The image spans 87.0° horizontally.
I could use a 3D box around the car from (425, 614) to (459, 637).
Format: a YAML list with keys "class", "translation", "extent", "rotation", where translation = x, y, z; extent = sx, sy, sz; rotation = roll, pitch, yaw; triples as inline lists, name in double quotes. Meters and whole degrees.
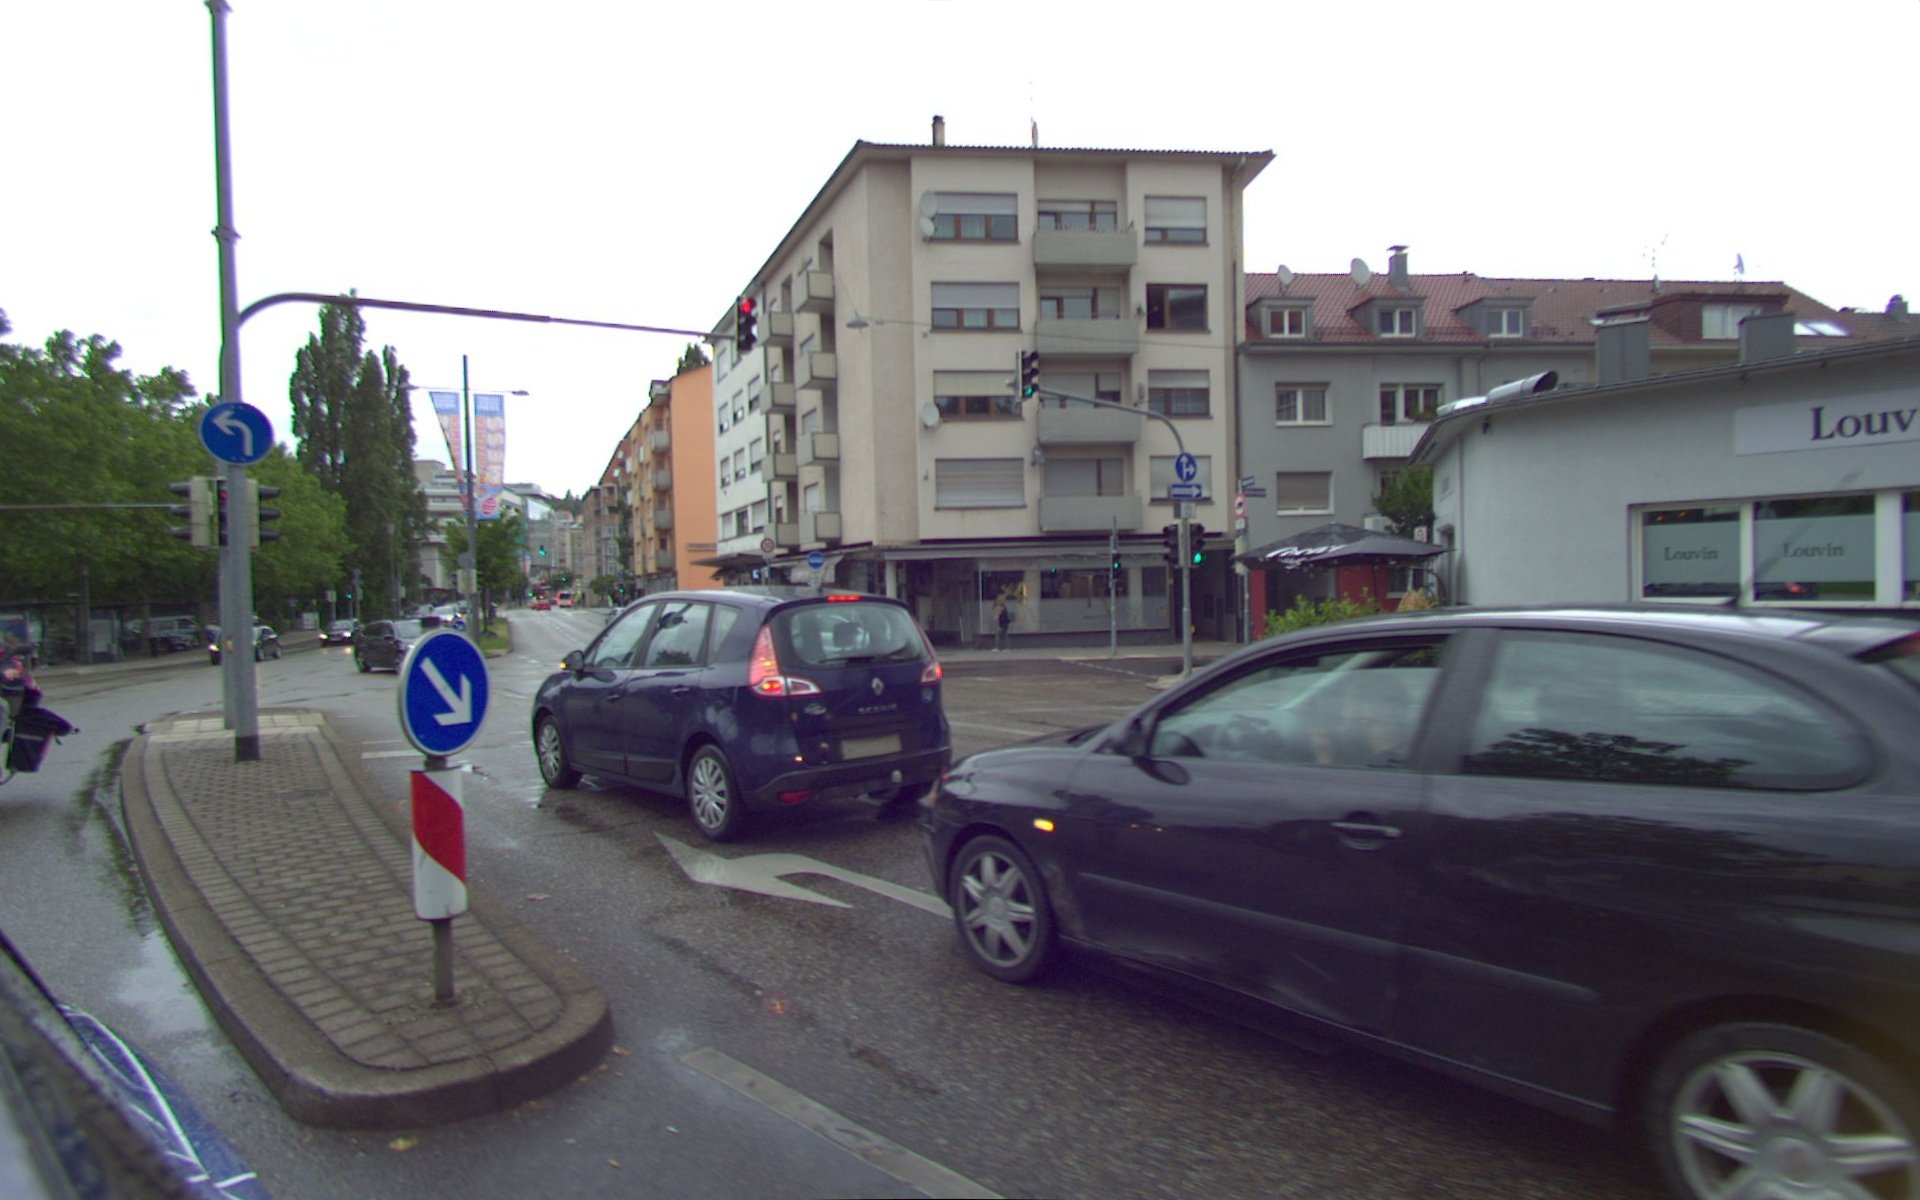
- class: "car"
  translation: [-37.403, 1.853, 73.163]
  extent: [1.865, 1.588, 4.375]
  rotation: [0, -1, -23]

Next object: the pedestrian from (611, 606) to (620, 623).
- class: "pedestrian"
  translation: [-34.822, 1.431, 102.347]
  extent: [0.754, 1.708, 0.803]
  rotation: [-1, 0, -26]

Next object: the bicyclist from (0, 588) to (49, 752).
- class: "bicyclist"
  translation: [-7.657, 0.565, 7.748]
  extent: [0.948, 1.235, 0.716]
  rotation: [-2, -3, -40]

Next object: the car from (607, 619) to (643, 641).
- class: "car"
  translation: [-21.645, 1.922, 65.328]
  extent: [1.652, 1.402, 4.165]
  rotation: [1, -1, -26]

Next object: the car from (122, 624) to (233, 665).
- class: "car"
  translation: [-46.842, 2.641, 60.702]
  extent: [4.769, 1.957, 1.957]
  rotation: [-5, 2, -19]

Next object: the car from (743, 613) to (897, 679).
- class: "car"
  translation: [-3.481, 1.139, 25.539]
  extent: [3.582, 1.472, 1.540]
  rotation: [-2, 0, 3]

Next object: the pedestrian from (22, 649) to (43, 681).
- class: "pedestrian"
  translation: [-37.869, 2.654, 41.333]
  extent: [0.491, 1.281, 0.403]
  rotation: [-2, -1, -20]

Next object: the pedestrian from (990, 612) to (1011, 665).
- class: "pedestrian"
  translation: [1.300, 1.243, 32.669]
  extent: [0.594, 1.662, 0.528]
  rotation: [-2, 3, 0]

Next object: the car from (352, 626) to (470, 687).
- class: "car"
  translation: [-15.352, 1.499, 28.198]
  extent: [1.778, 1.444, 4.401]
  rotation: [-3, 1, -43]

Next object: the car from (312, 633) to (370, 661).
- class: "car"
  translation: [-34.777, 2.612, 56.940]
  extent: [1.865, 1.432, 4.374]
  rotation: [0, -1, -19]

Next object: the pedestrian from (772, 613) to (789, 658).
- class: "pedestrian"
  translation: [-7.200, 1.413, 40.578]
  extent: [0.446, 1.743, 0.526]
  rotation: [-5, 1, -20]

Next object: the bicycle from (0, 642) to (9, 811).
- class: "bicycle"
  translation: [-7.778, 0.999, 7.702]
  extent: [0.706, 1.315, 2.430]
  rotation: [1, -2, -42]

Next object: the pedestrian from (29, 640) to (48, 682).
- class: "pedestrian"
  translation: [-38.311, 2.509, 42.078]
  extent: [0.532, 1.708, 0.556]
  rotation: [-1, -2, -37]

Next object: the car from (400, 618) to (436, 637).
- class: "car"
  translation: [-43.456, 2.212, 81.197]
  extent: [1.865, 1.499, 4.374]
  rotation: [0, -1, -19]

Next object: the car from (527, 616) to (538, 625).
- class: "car"
  translation: [-70.242, 3.391, 166.209]
  extent: [1.544, 1.404, 3.847]
  rotation: [0, 0, -24]

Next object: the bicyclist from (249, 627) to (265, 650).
- class: "bicyclist"
  translation: [-56.645, 3.065, 81.506]
  extent: [0.972, 1.783, 0.798]
  rotation: [-2, 1, -39]

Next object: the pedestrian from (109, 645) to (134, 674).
- class: "pedestrian"
  translation: [-40.721, 2.888, 49.148]
  extent: [0.623, 1.332, 0.627]
  rotation: [-3, 1, -9]

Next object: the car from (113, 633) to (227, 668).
- class: "car"
  translation: [-44.678, 2.837, 57.376]
  extent: [4.673, 1.415, 1.868]
  rotation: [-5, 2, -19]

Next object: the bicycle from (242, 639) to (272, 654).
- class: "bicycle"
  translation: [-56.616, 3.719, 81.541]
  extent: [1.903, 1.102, 0.651]
  rotation: [-2, 1, -39]

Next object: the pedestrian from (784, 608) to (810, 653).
- class: "pedestrian"
  translation: [-6.666, 1.240, 41.332]
  extent: [0.767, 1.742, 0.662]
  rotation: [-5, 1, -21]

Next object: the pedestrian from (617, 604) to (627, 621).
- class: "pedestrian"
  translation: [-30.507, 1.134, 91.252]
  extent: [0.552, 1.451, 0.610]
  rotation: [-6, 2, -42]

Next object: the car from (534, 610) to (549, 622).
- class: "car"
  translation: [-53.935, 2.053, 130.456]
  extent: [1.580, 1.441, 3.958]
  rotation: [1, 0, -25]

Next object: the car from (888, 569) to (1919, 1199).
- class: "car"
  translation: [1.540, 0.679, 3.327]
  extent: [1.537, 1.408, 3.731]
  rotation: [-1, -1, -42]

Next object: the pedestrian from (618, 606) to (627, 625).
- class: "pedestrian"
  translation: [-32.917, 1.504, 98.773]
  extent: [0.734, 1.901, 0.803]
  rotation: [-1, 0, -26]

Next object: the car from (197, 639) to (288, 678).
- class: "car"
  translation: [-29.256, 2.358, 41.419]
  extent: [1.865, 1.410, 4.374]
  rotation: [0, -1, -19]

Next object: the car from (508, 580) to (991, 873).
- class: "car"
  translation: [-1.857, 0.761, 7.793]
  extent: [1.734, 1.627, 4.216]
  rotation: [0, -2, -42]
